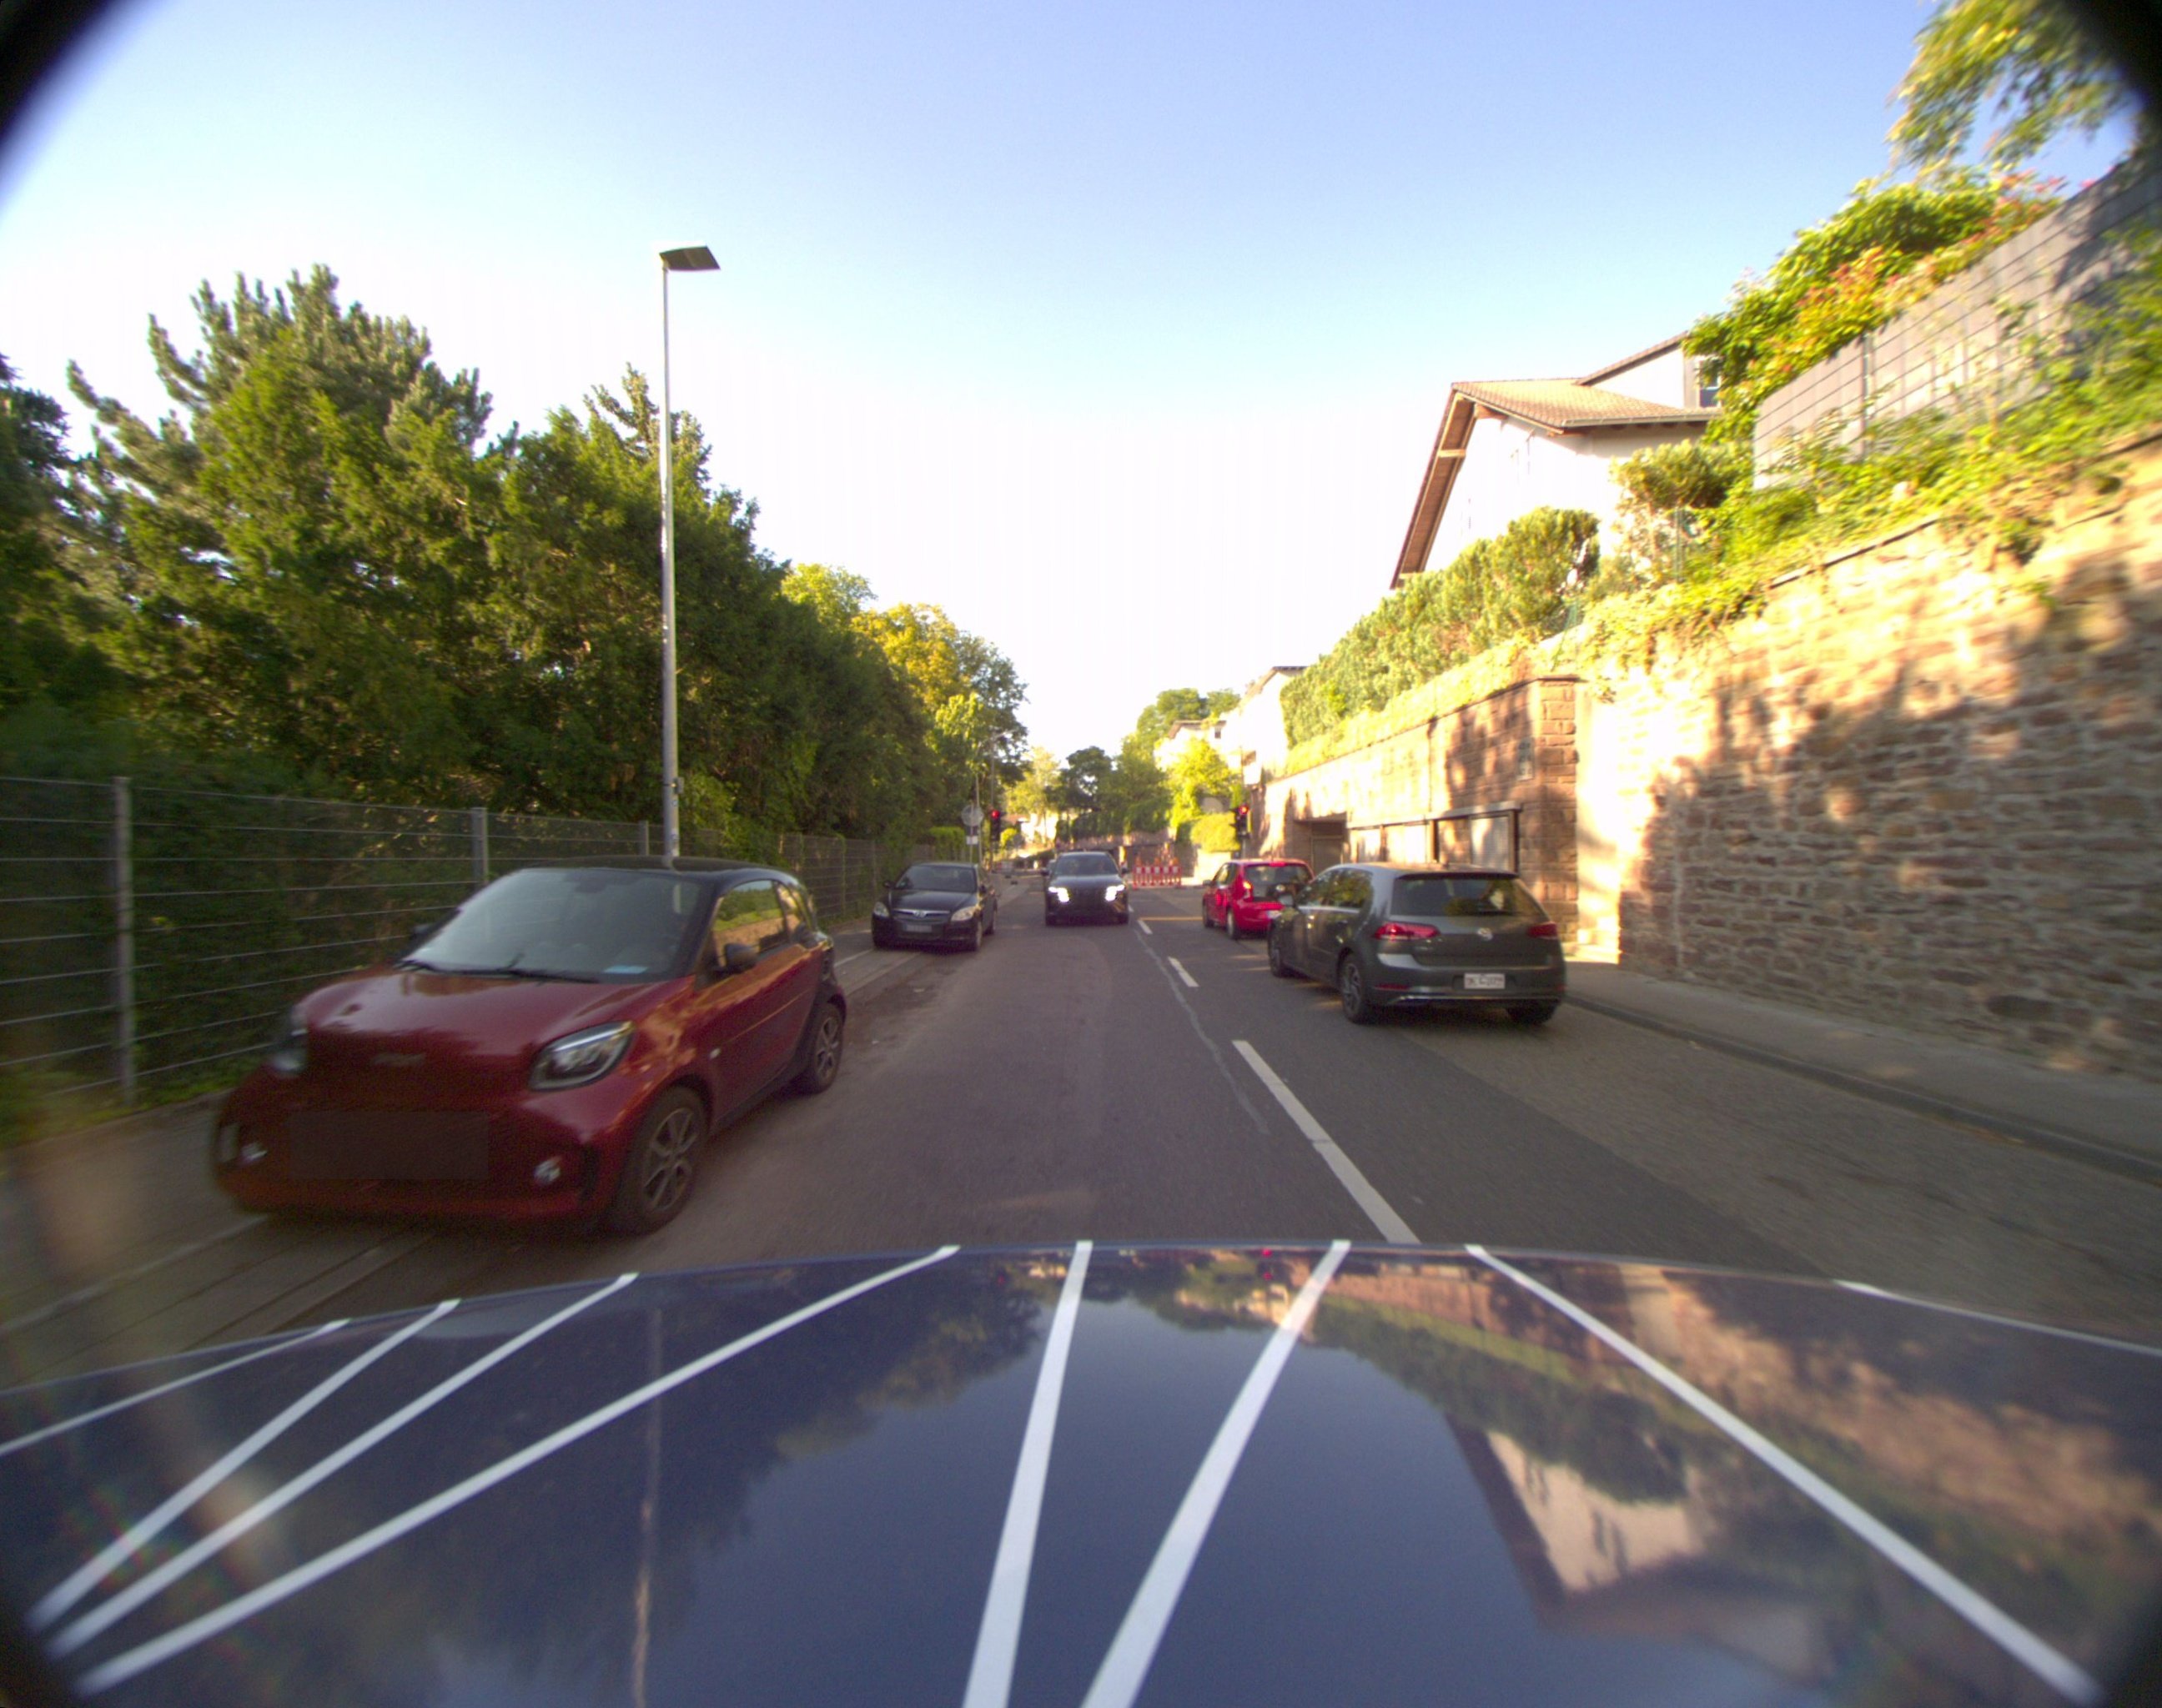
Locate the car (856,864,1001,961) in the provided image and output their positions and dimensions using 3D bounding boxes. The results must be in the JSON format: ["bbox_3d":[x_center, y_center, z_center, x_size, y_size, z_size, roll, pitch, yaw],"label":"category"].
[{"bbox_3d":[-2.577,0.929,13.776,1.799,1.432,4.000,-1,0,0],"label":"car"}]

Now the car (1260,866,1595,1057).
[{"bbox_3d":[3.144,0.862,7.844,1.653,1.403,3.930,0,0,0],"label":"car"}]

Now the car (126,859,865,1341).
[{"bbox_3d":[-2.507,0.875,4.127,1.657,1.555,2.872,4,1,2],"label":"car"}]

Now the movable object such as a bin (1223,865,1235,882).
[{"bbox_3d":[7.164,0.947,36.774,0.455,0.829,0.392,-1,0,-2],"label":"movable object such as a bin"}]

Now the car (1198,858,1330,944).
[{"bbox_3d":[3.402,0.813,14.773,1.631,1.413,3.562,0,0,-2],"label":"car"}]

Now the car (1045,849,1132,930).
[{"bbox_3d":[0.087,0.740,18.463,1.788,1.639,4.473,-3,1,-2],"label":"car"}]

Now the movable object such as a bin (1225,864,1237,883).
[{"bbox_3d":[7.168,0.922,36.279,0.457,0.879,0.500,-2,0,-1],"label":"movable object such as a bin"}]

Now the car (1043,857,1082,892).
[{"bbox_3d":[-0.890,0.897,35.550,1.662,1.468,3.682,-2,0,-2],"label":"car"}]

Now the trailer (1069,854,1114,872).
[{"bbox_3d":[0.832,0.772,68.082,2.649,1.481,7.111,-2,0,-11],"label":"trailer"}]
